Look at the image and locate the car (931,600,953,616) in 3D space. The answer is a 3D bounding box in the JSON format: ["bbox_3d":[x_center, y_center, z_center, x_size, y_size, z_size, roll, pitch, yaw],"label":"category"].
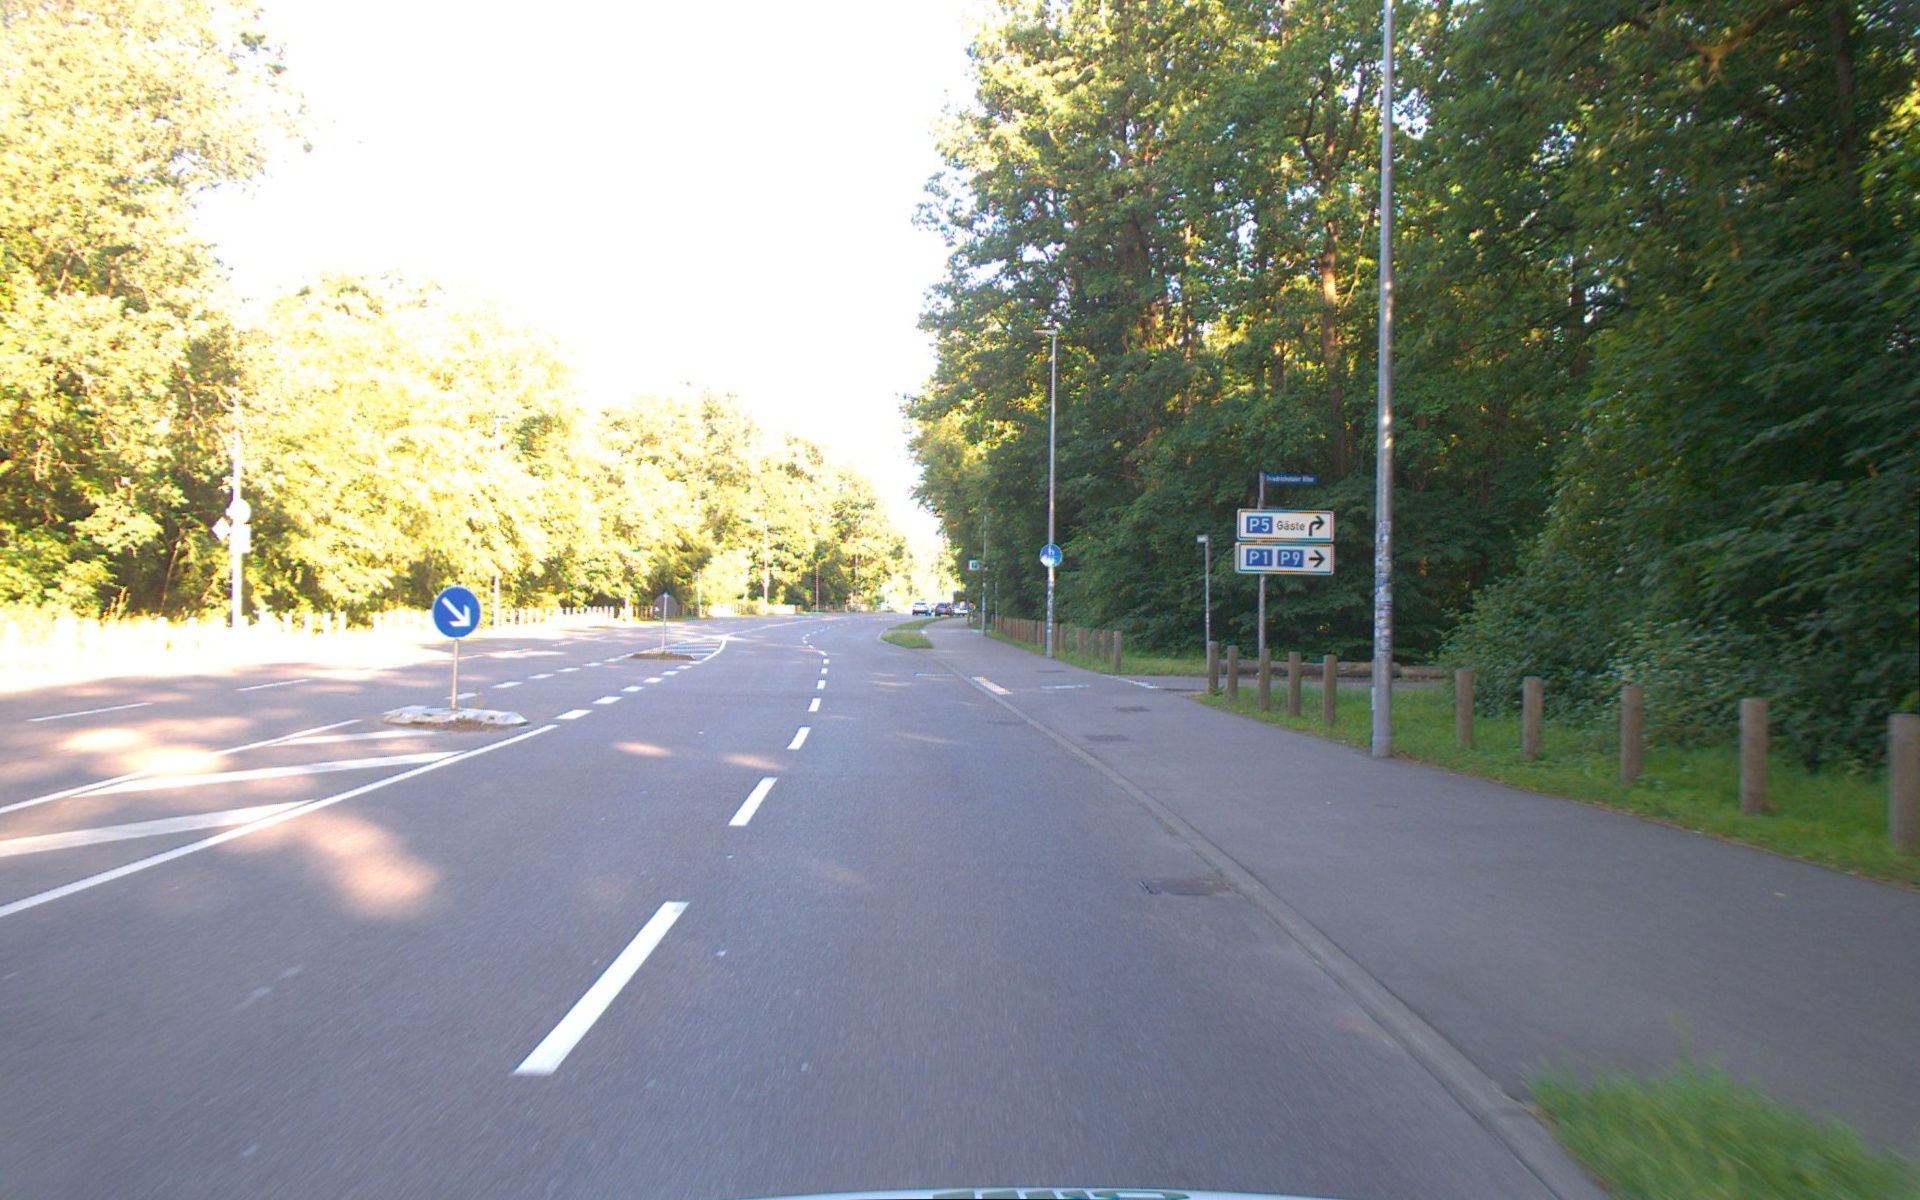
[{"bbox_3d":[-2.050,0.883,185.303,1.840,1.796,4.003,0,0,8],"label":"car"}]

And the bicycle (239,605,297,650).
[{"bbox_3d":[-18.502,0.732,44.260,0.392,1.152,2.221,2,0,6],"label":"bicycle"}]

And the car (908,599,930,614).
[{"bbox_3d":[-4.634,0.745,187.971,1.840,1.739,4.003,0,0,8],"label":"car"}]

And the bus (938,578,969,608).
[{"bbox_3d":[-0.791,-0.857,200.958,2.549,3.427,7.982,1,0,8],"label":"bus"}]
